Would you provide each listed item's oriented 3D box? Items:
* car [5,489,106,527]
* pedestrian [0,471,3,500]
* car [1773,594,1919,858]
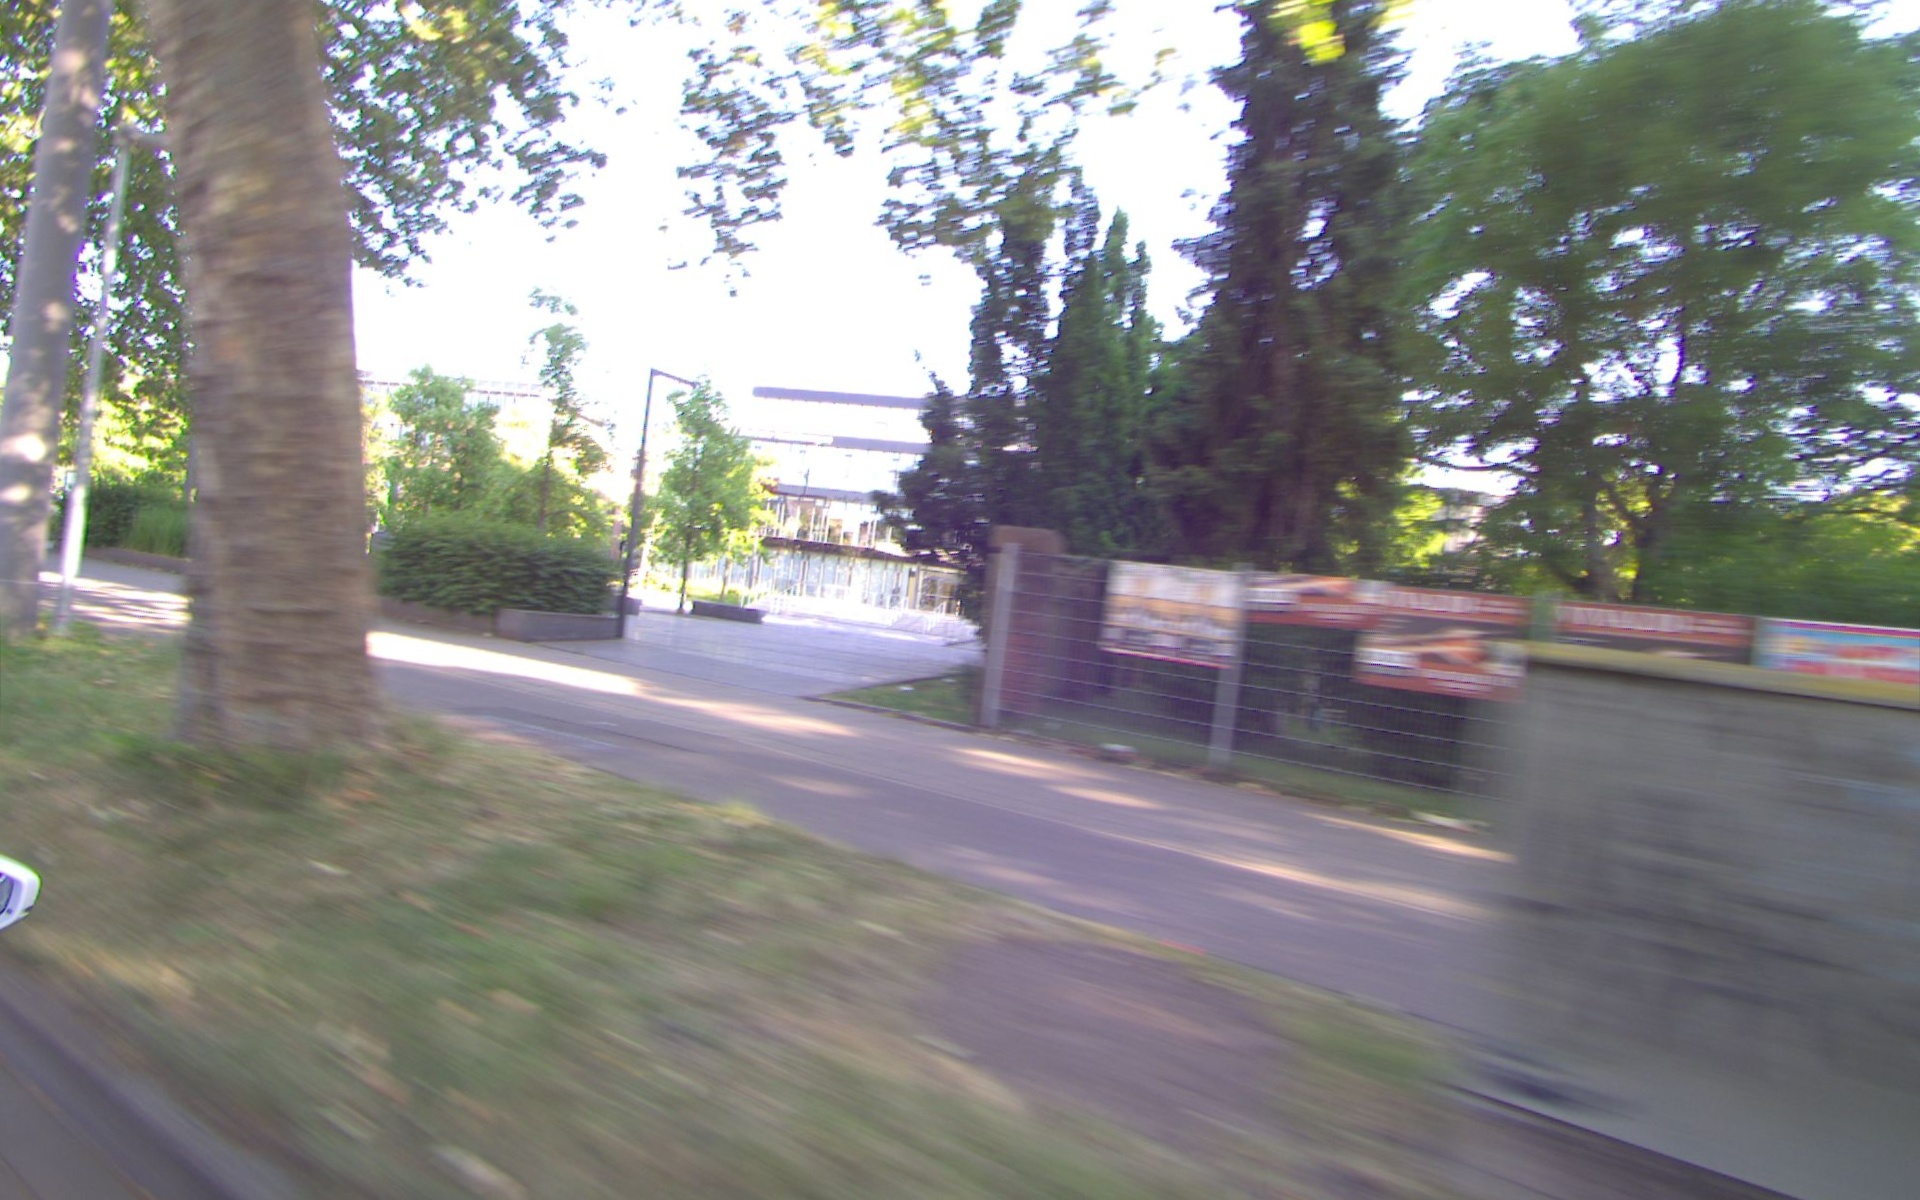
[{"bbox_3d":[-59.181,-5.977,65.935,1.813,1.735,4.688,8,0,11],"label":"car"},{"bbox_3d":[-22.322,-2.138,22.778,0.770,1.677,0.650,7,1,31],"label":"pedestrian"},{"bbox_3d":[11.910,1.594,9.451,6.244,2.526,1.998,6,-3,34],"label":"car"}]
